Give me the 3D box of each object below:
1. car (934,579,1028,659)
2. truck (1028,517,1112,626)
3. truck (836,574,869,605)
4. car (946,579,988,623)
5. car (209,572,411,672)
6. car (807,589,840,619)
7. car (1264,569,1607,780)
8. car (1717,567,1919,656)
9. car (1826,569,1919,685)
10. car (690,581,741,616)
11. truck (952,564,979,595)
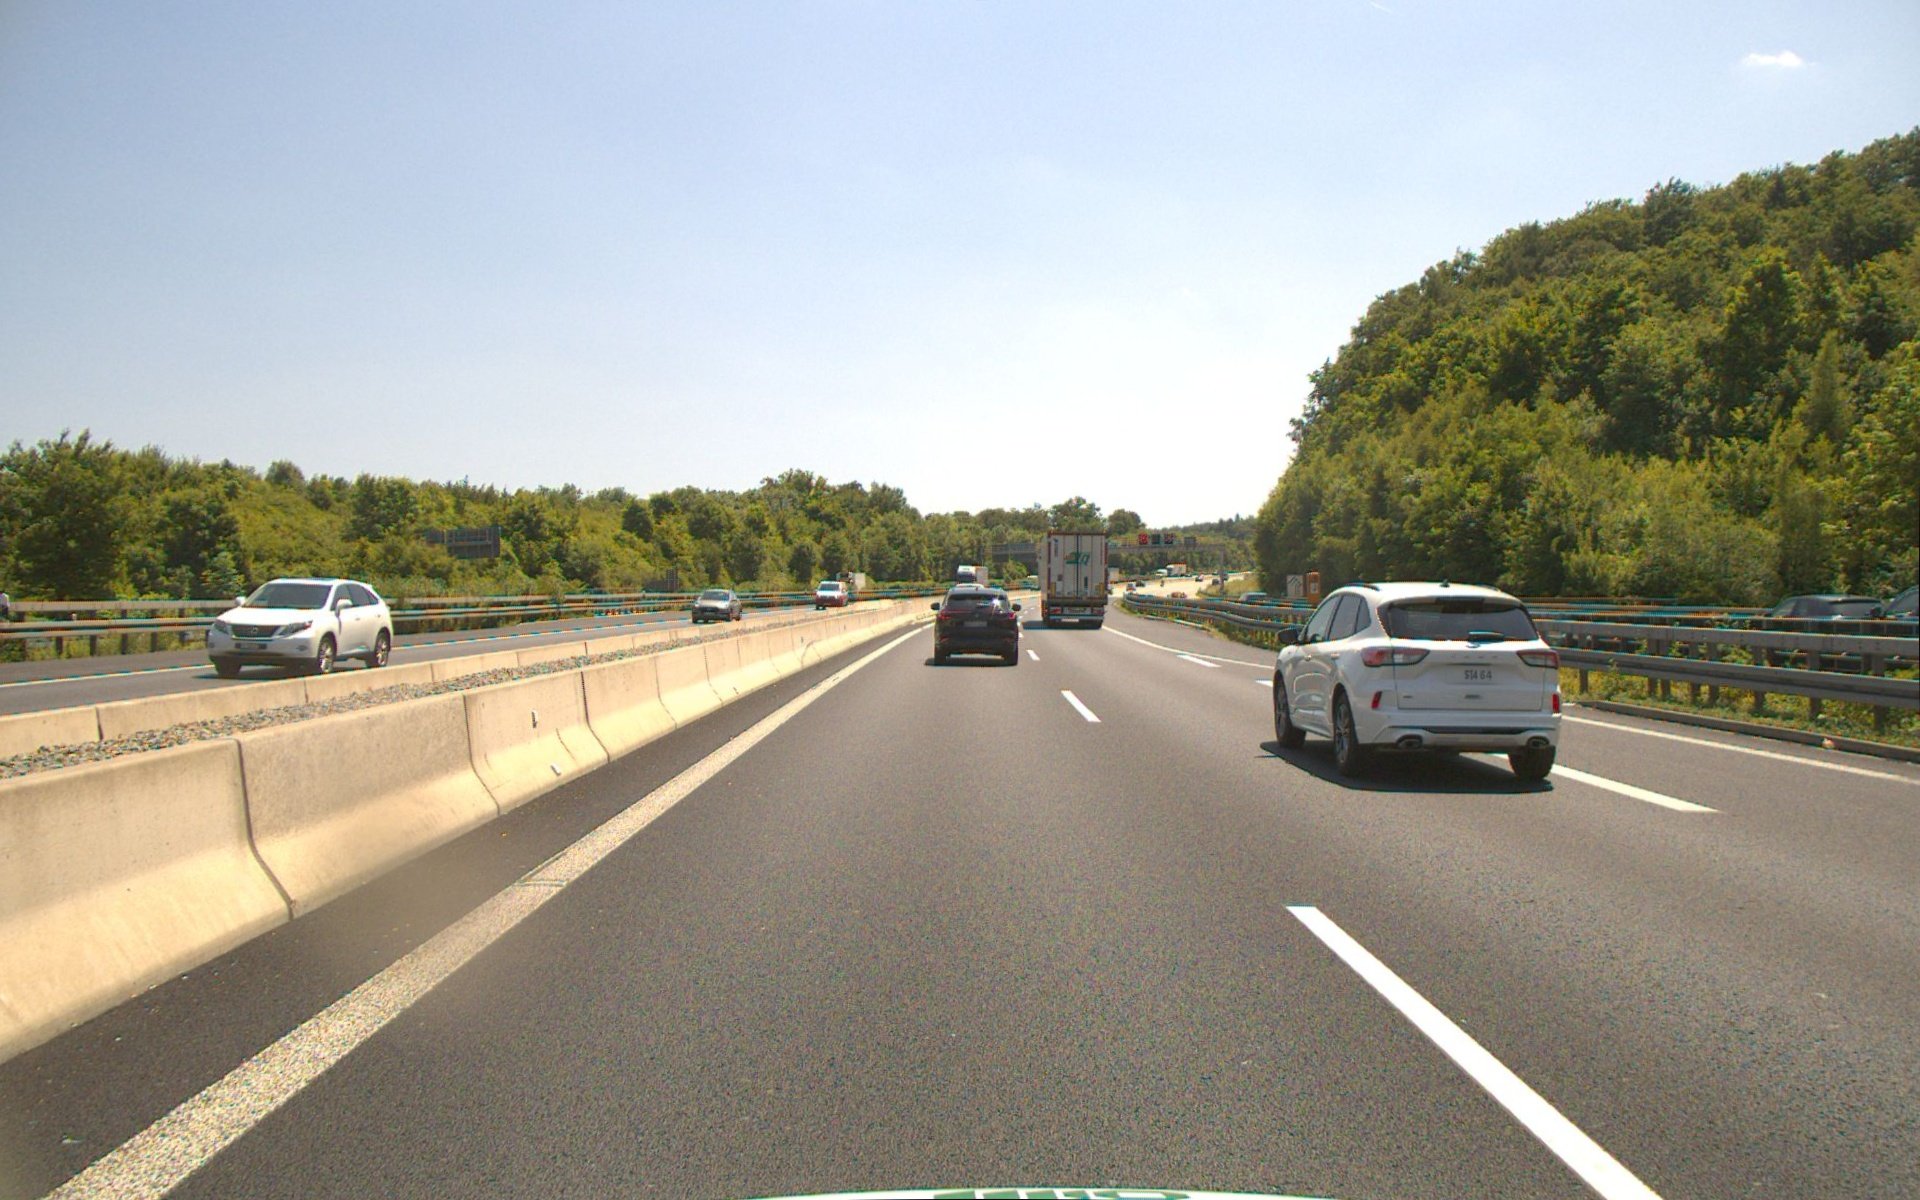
[{"bbox_3d":[0.397,0.403,35.892,1.744,1.605,3.997,1,-1,-3],"label":"car"},{"bbox_3d":[4.811,-1.158,74.335,2.970,4.496,12.017,0,0,0],"label":"truck"},{"bbox_3d":[-14.642,-1.380,225.571,2.640,4.029,10.784,0,0,6],"label":"truck"},{"bbox_3d":[0.321,0.036,81.909,1.953,2.048,4.000,-3,0,0],"label":"car"},{"bbox_3d":[-11.788,0.362,30.373,1.751,1.660,4.929,1,0,0],"label":"car"},{"bbox_3d":[-9.792,0.300,118.790,1.953,2.049,5.379,0,0,0],"label":"car"},{"bbox_3d":[4.216,0.608,15.483,1.952,1.691,4.468,0,0,0],"label":"car"},{"bbox_3d":[18.112,0.202,34.348,1.955,1.691,5.221,-1,0,-6],"label":"car"},{"bbox_3d":[14.944,0.395,23.776,1.953,1.691,5.625,0,0,-1],"label":"car"},{"bbox_3d":[-11.260,-0.082,76.405,1.692,1.559,4.261,1,0,0],"label":"car"},{"bbox_3d":[0.805,-2.710,223.310,2.640,4.029,10.784,0,0,6],"label":"truck"}]
